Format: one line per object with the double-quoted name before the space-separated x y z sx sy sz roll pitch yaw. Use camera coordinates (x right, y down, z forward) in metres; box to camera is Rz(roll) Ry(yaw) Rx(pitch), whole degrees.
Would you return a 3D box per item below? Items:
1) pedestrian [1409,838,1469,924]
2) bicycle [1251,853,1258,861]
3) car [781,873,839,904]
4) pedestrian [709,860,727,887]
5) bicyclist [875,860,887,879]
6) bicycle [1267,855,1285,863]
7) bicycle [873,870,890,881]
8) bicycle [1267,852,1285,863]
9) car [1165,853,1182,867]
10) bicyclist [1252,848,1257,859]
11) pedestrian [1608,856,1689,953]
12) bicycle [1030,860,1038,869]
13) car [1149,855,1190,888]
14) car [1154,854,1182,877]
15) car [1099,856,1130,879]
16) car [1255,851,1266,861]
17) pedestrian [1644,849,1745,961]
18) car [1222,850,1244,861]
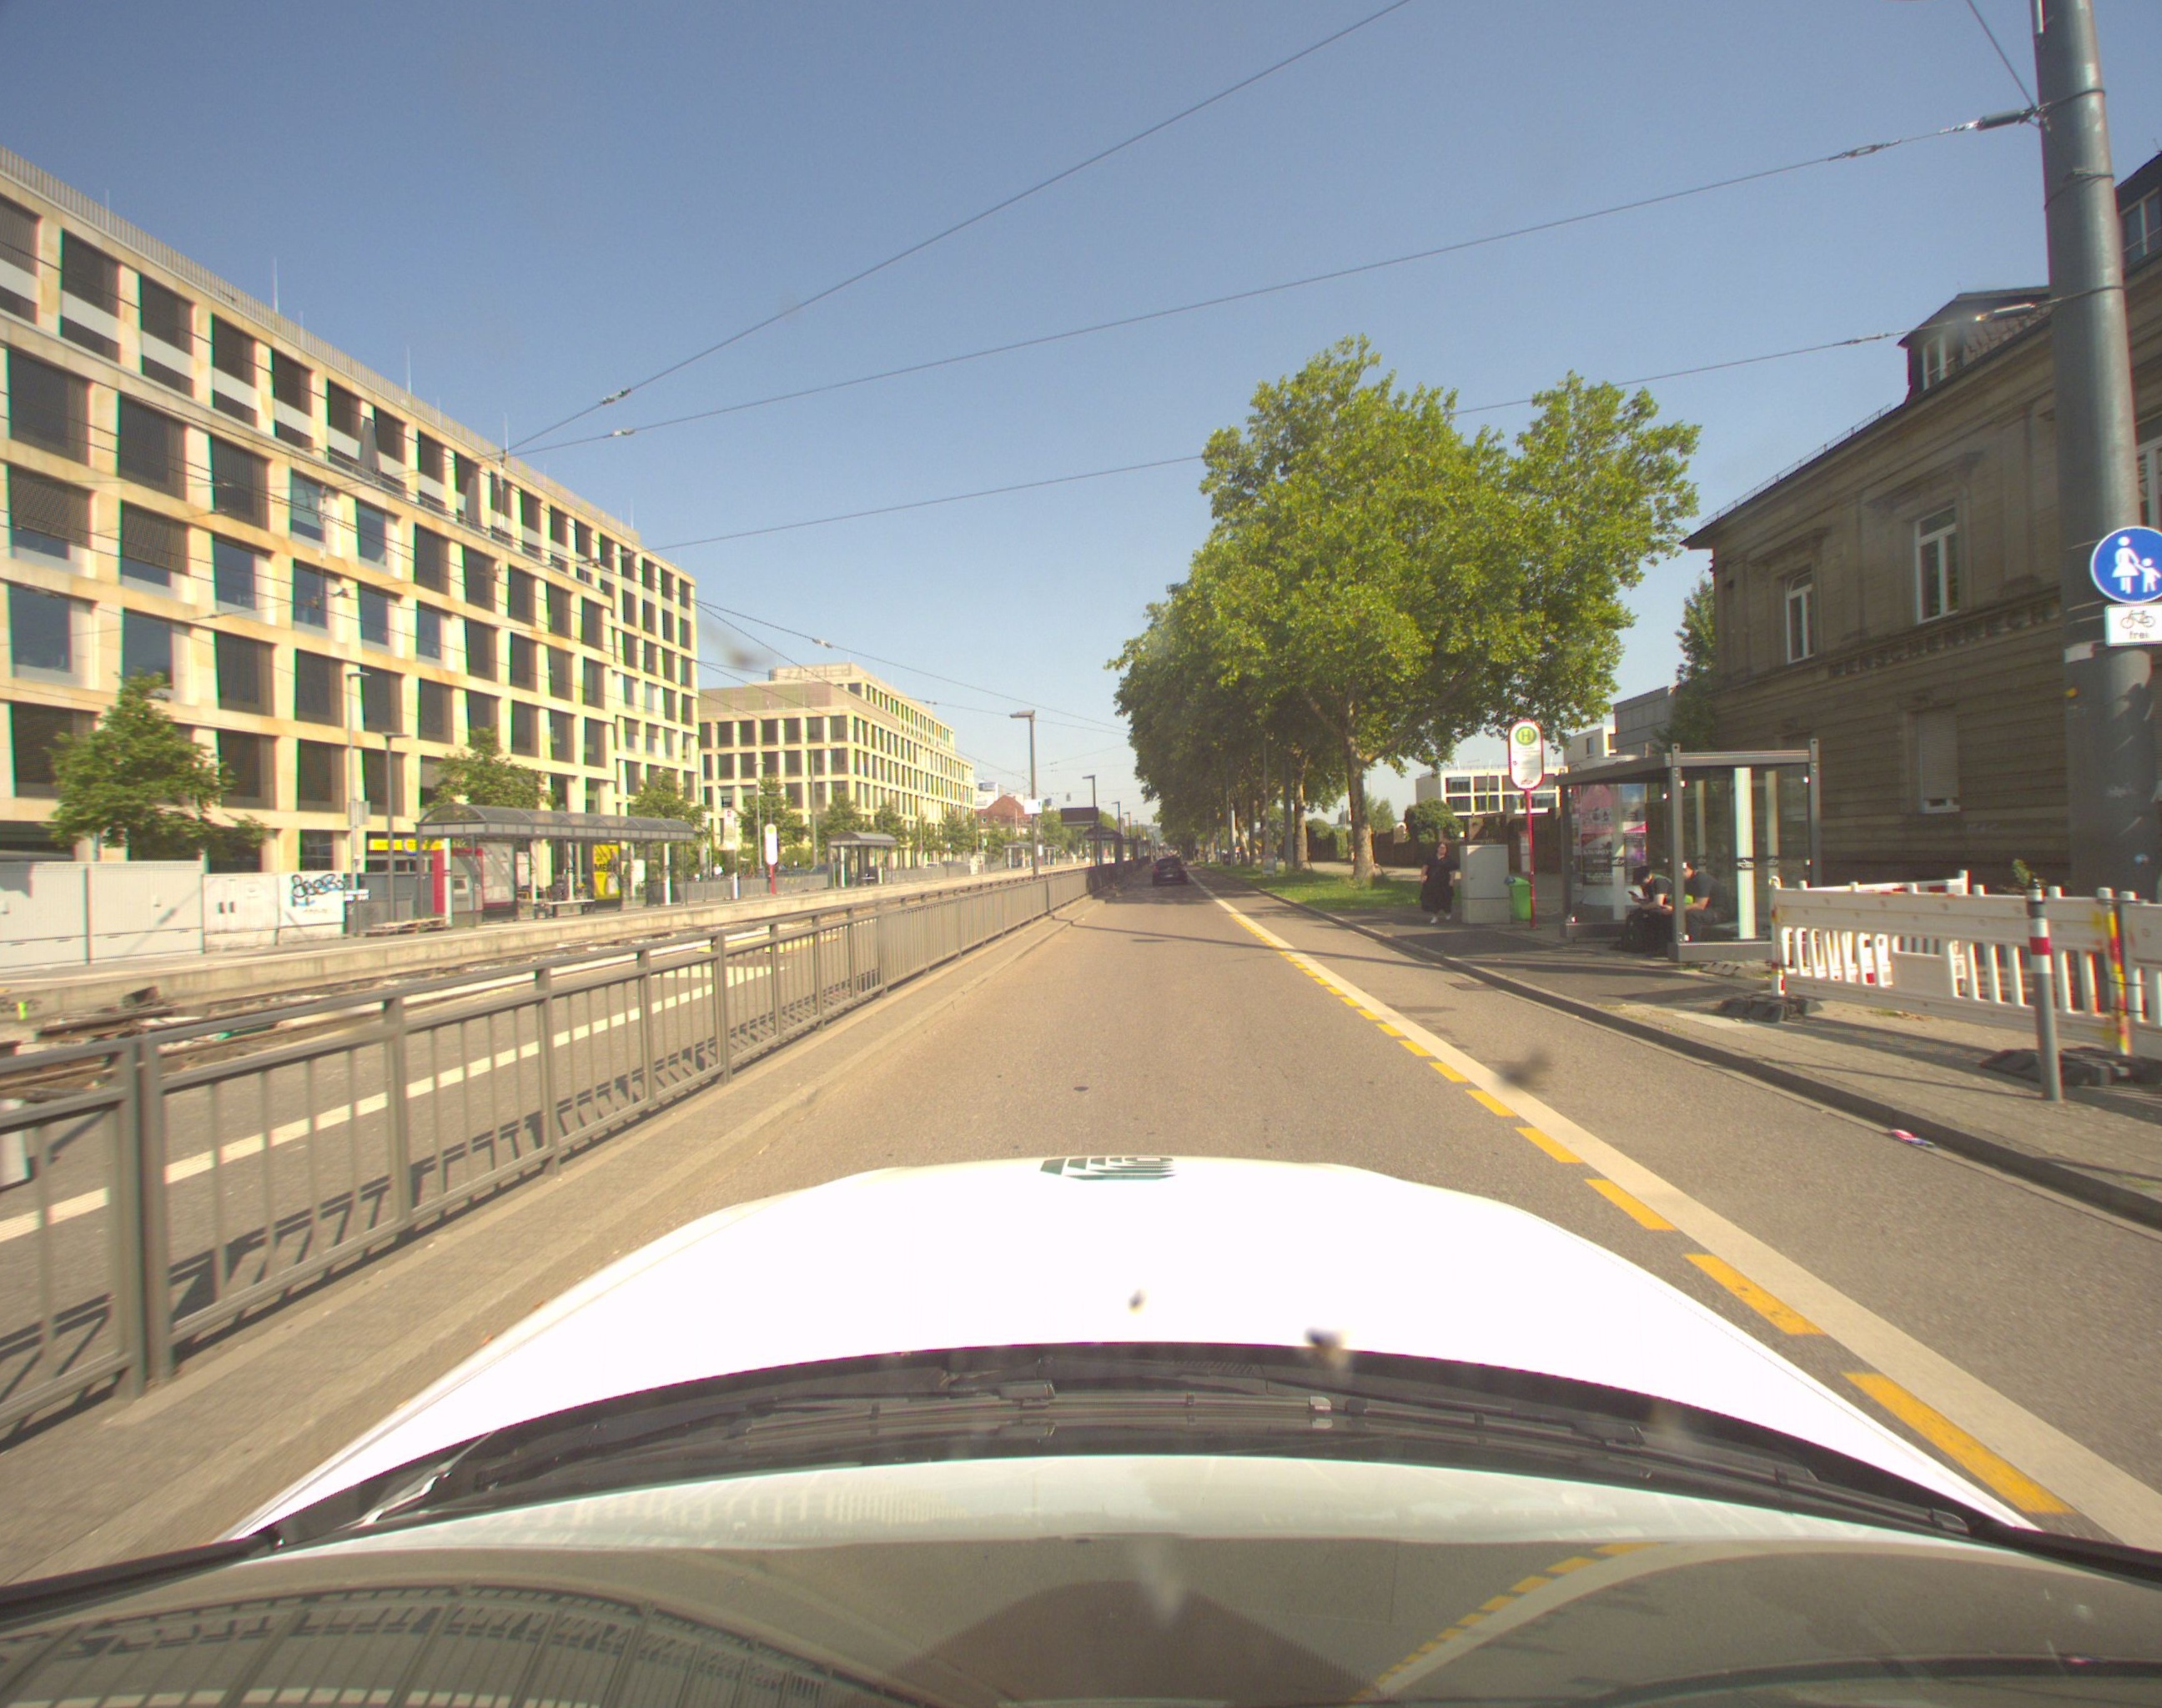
"pedestrian" 6.985 0.519 15.933 0.875 1.626 0.825 -2 0 12
"bicycle" 22.068 0.357 103.597 0.545 1.007 1.716 -2 0 6
"car" -15.382 1.918 46.437 1.653 1.571 3.766 -2 0 7
"pedestrian" -26.493 1.424 59.424 0.790 1.917 0.838 -5 -2 0
"bicyclist" -15.746 1.210 64.189 0.626 1.402 0.785 -5 -2 5
"bicycle" 25.548 0.659 106.826 2.163 1.076 0.744 -2 -1 4
"bicycle" -15.711 1.705 64.105 0.626 0.822 1.900 -5 -2 6
"bicycle" 26.639 0.464 111.272 2.233 1.277 1.000 -4 -2 5
"car" 11.293 0.711 99.451 1.898 1.537 4.007 -2 0 6
"bicyclist" 22.057 -0.047 103.589 0.545 1.453 0.843 -2 0 7
"pedestrian" 7.514 0.654 10.797 0.605 1.218 0.575 -4 -1 3
"bicycle" -6.025 1.367 105.092 0.467 1.147 1.491 -2 -1 21
"car" 4.583 0.886 42.270 1.898 1.537 4.006 -3 -1 6
"car" 6.688 0.843 62.907 1.964 1.537 4.006 -6 -1 5
"car" 2.616 0.994 63.604 1.983 1.559 4.008 -5 0 7
"car" 32.354 0.347 146.758 1.599 1.575 3.803 -3 -1 7
"pedestrian" 7.480 0.602 9.960 0.605 1.277 0.760 -4 -1 4
"car" 29.756 0.370 159.296 4.079 1.918 1.852 -4 -1 9
